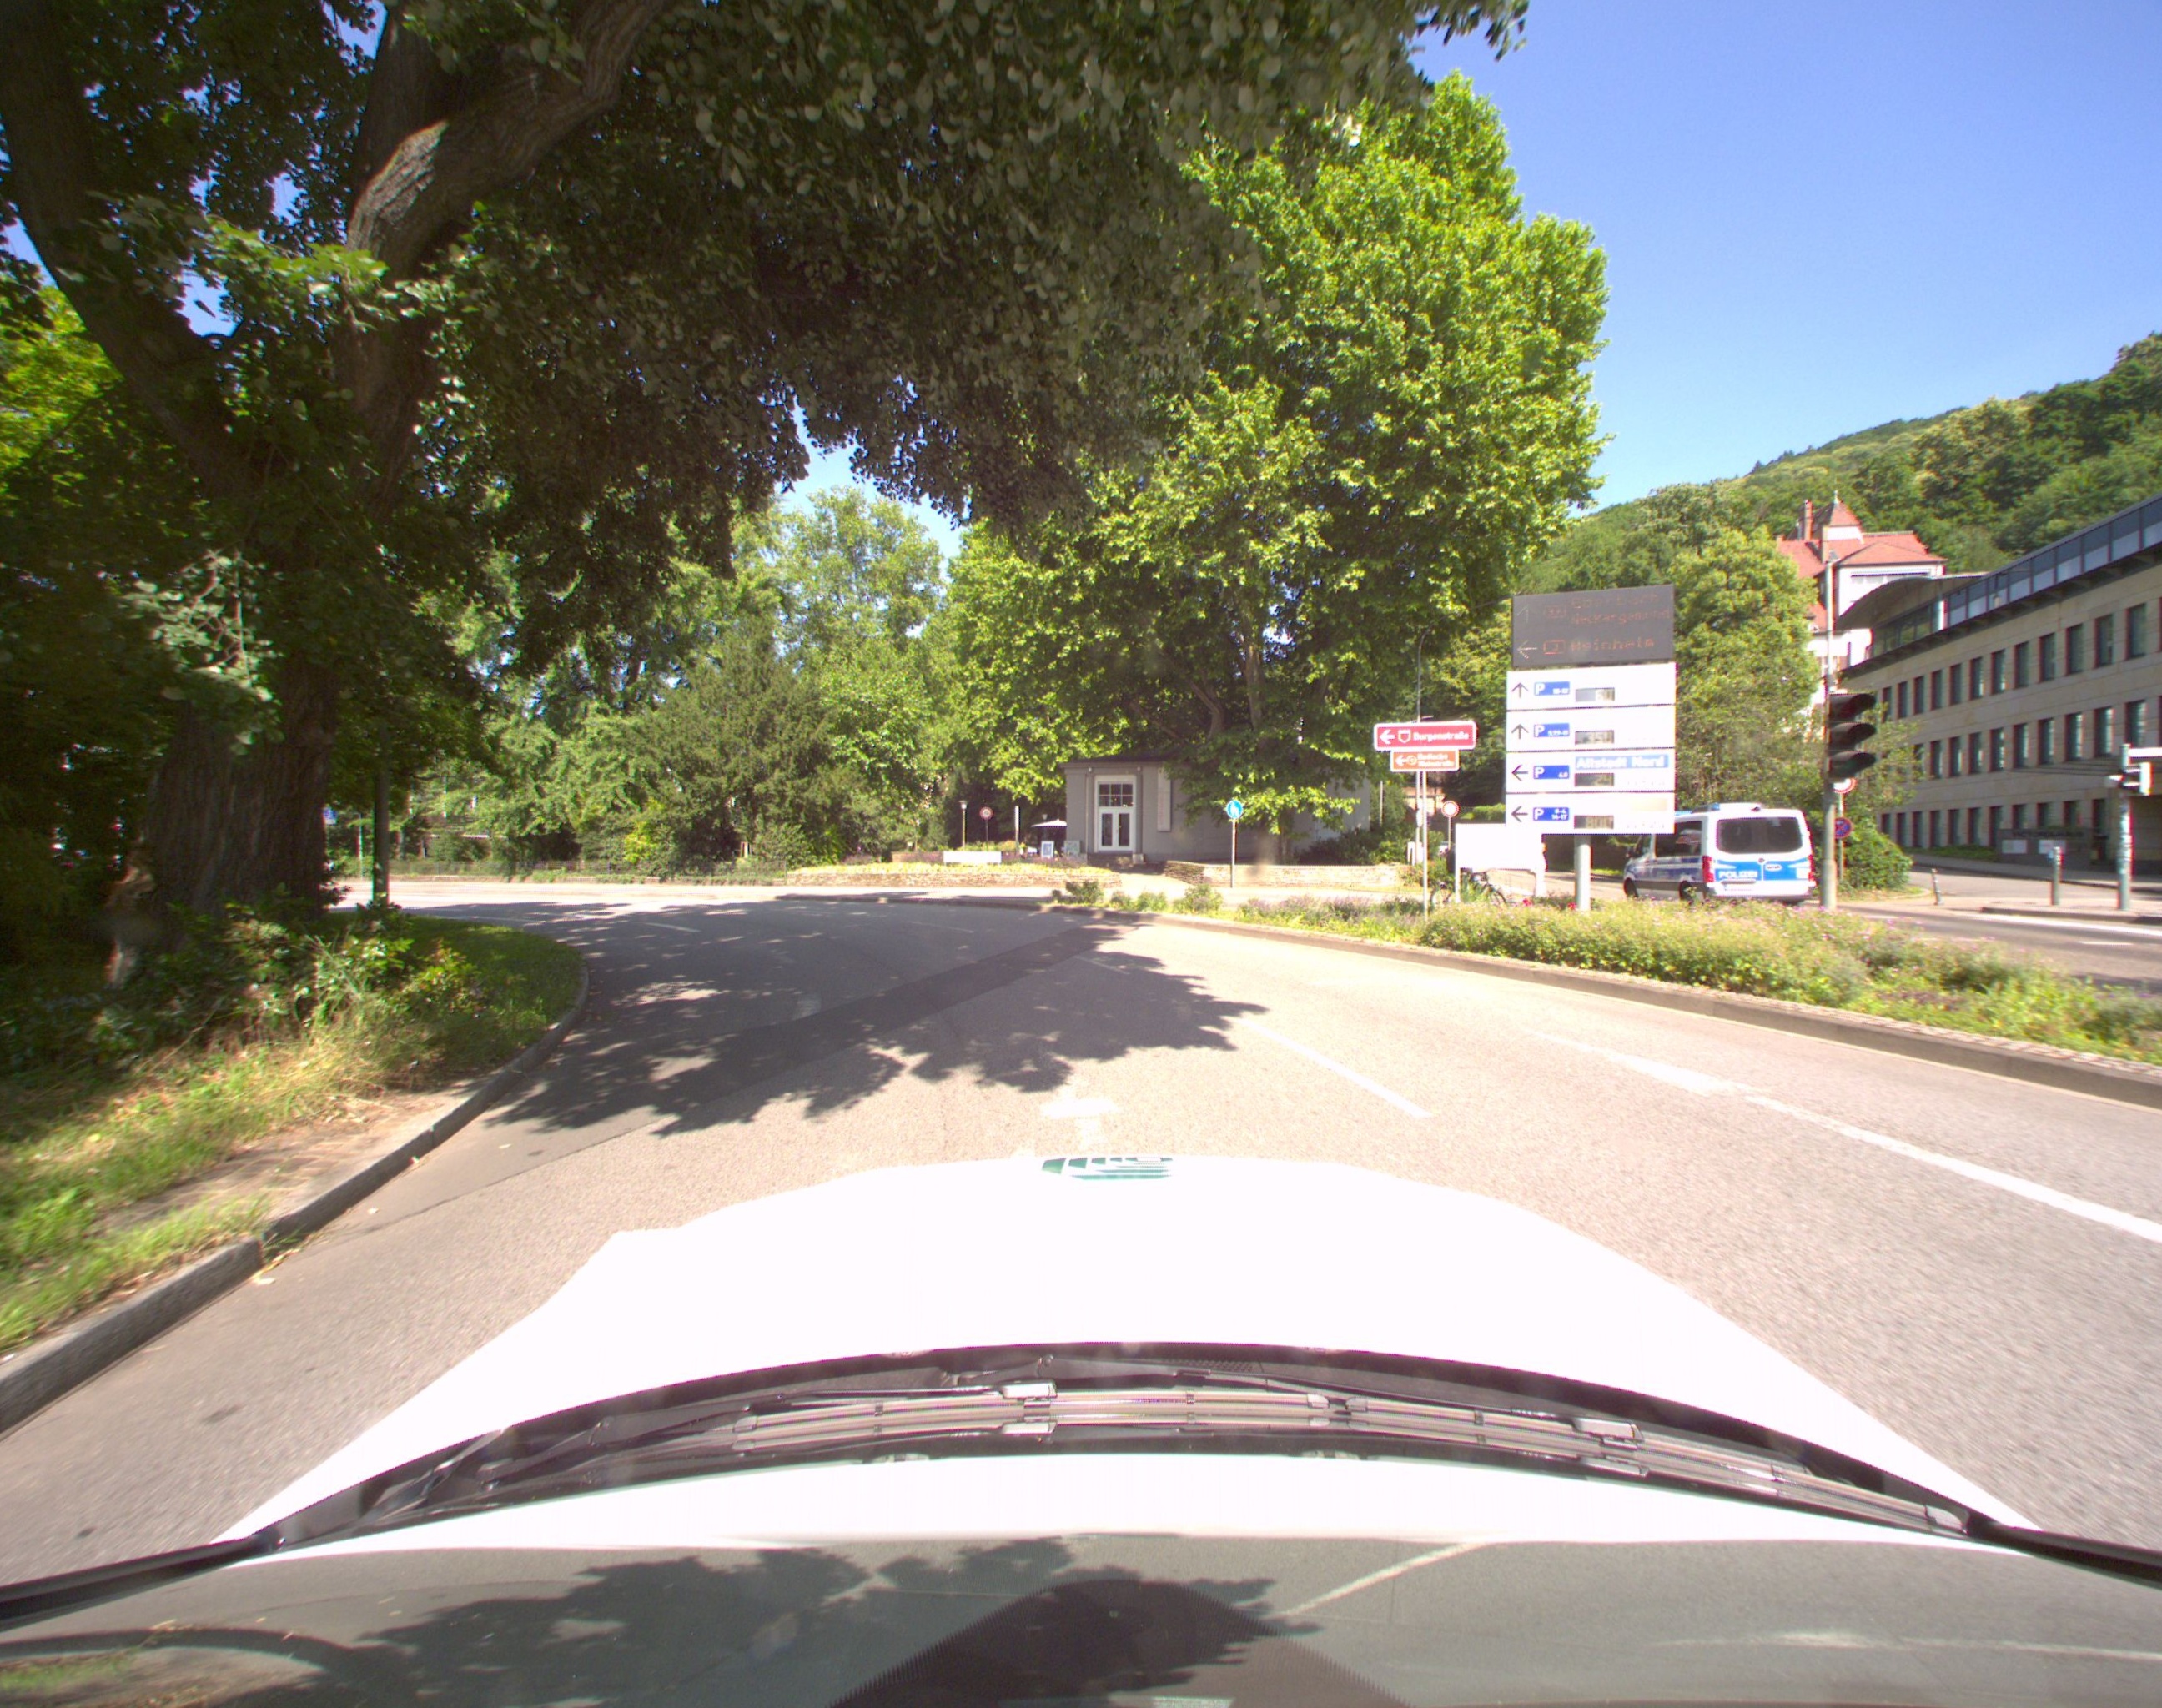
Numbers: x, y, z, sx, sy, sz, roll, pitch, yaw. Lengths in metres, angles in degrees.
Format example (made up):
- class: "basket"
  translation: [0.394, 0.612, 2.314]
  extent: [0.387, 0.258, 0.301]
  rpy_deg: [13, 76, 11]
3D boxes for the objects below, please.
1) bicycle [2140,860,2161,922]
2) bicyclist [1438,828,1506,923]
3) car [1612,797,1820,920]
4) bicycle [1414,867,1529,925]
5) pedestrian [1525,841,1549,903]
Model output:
- class: "bicycle"
  translation: [20.473, 0.672, 14.359]
  extent: [2.056, 1.112, 0.761]
  rpy_deg: [0, 0, 32]
- class: "bicyclist"
  translation: [8.248, 0.440, 17.188]
  extent: [1.115, 1.932, 0.752]
  rpy_deg: [0, 0, 44]
- class: "car"
  translation: [14.626, 0.079, 19.180]
  extent: [2.058, 2.508, 4.948]
  rpy_deg: [1, 0, 14]
- class: "bicycle"
  translation: [8.225, 0.845, 17.213]
  extent: [2.057, 1.112, 0.761]
  rpy_deg: [0, 0, 44]
- class: "pedestrian"
  translation: [12.199, 0.471, 21.802]
  extent: [0.541, 1.621, 0.638]
  rpy_deg: [-1, 0, 29]
